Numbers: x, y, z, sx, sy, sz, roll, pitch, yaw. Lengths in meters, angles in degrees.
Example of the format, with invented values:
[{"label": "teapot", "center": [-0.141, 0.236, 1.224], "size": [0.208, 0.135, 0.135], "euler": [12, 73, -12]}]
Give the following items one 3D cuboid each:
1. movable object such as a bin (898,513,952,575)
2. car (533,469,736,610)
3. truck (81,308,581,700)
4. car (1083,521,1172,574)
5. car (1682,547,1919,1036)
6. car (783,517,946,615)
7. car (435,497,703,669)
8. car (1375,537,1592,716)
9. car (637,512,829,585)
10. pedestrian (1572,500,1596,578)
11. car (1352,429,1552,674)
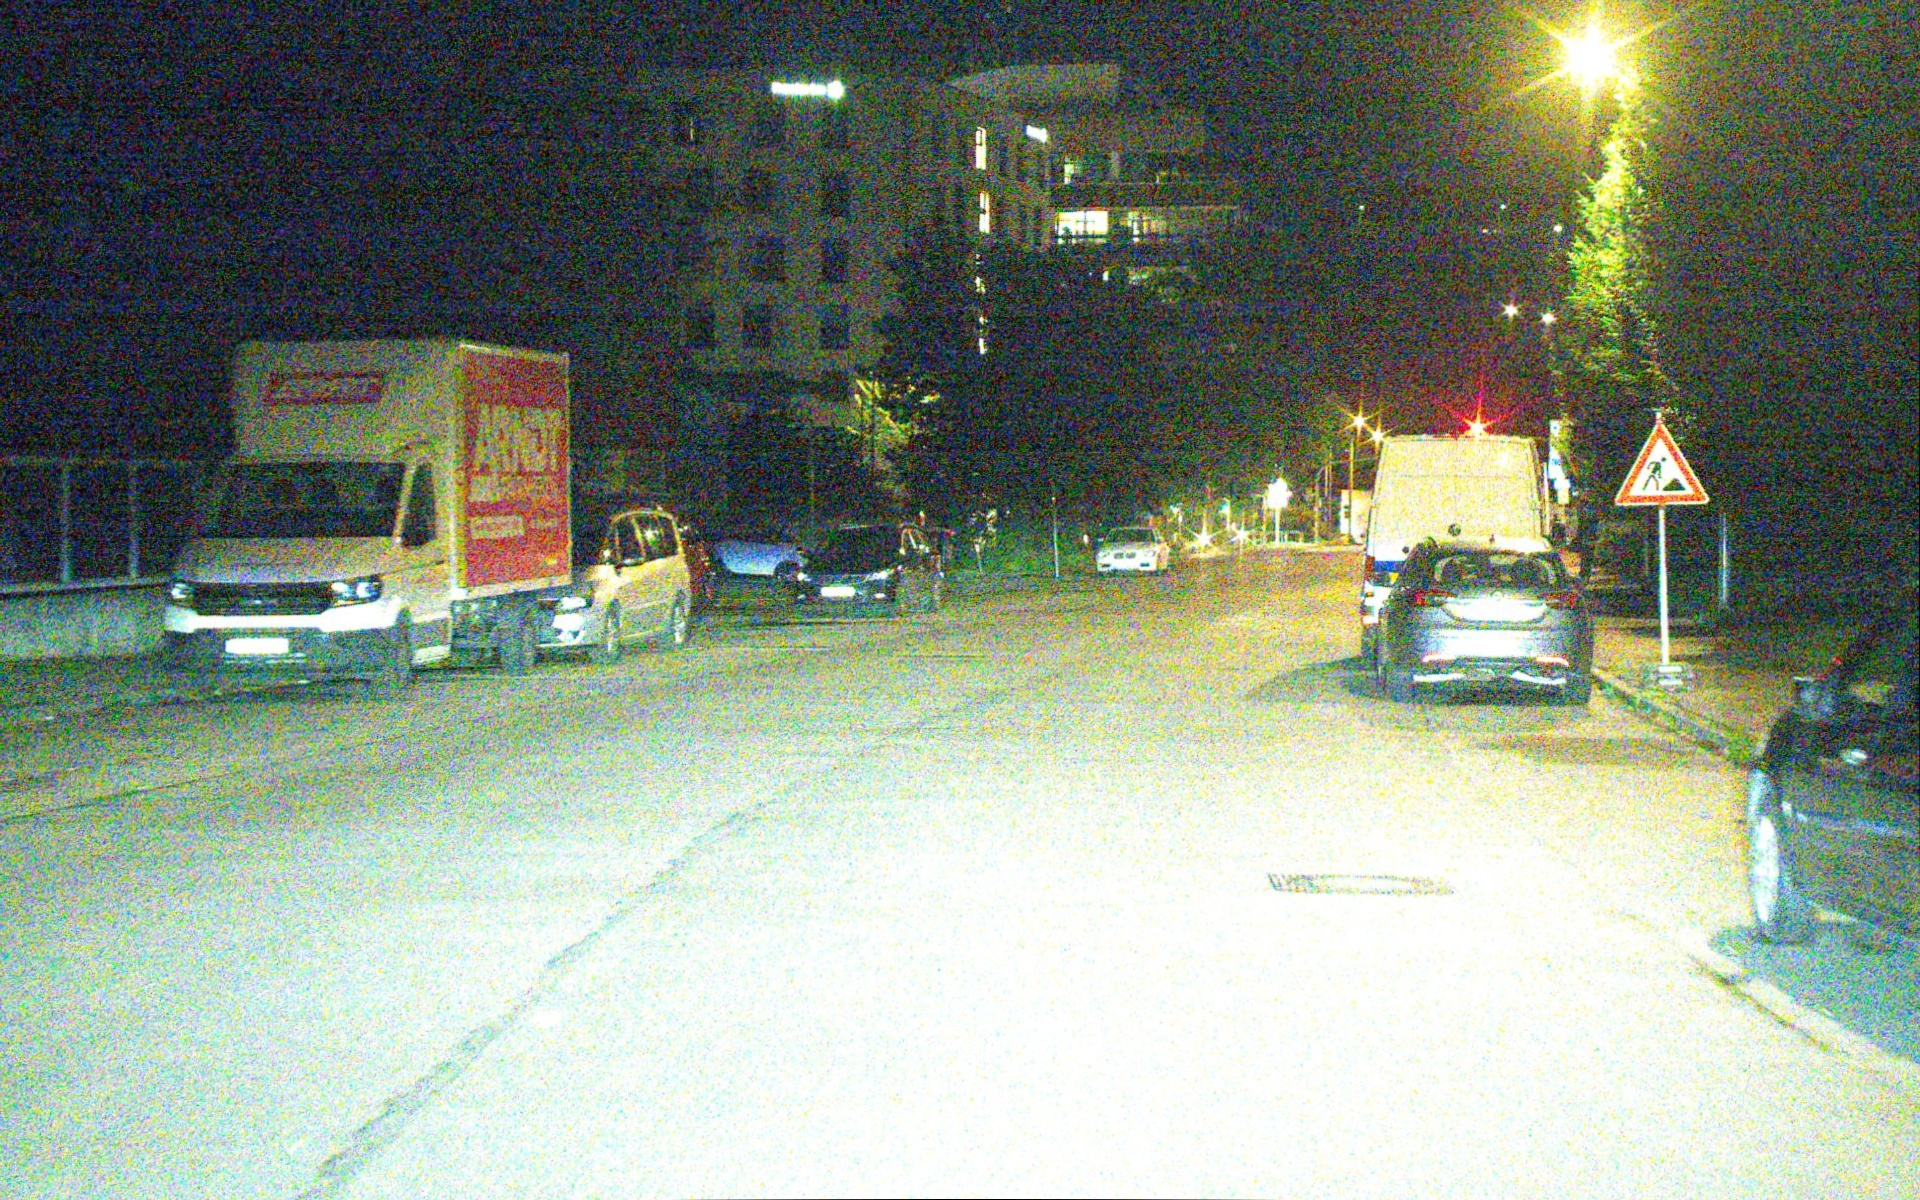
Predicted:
[{"label": "movable object such as a bin", "center": [-0.848, -1.380, 84.037], "size": [1.164, 1.490, 1.065], "euler": [0, 1, 7]}, {"label": "car", "center": [-5.678, -1.082, 60.593], "size": [1.995, 2.313, 4.964], "euler": [-2, 1, 13]}, {"label": "truck", "center": [-5.687, -0.890, 32.467], "size": [2.544, 3.269, 7.311], "euler": [0, 1, 7]}, {"label": "car", "center": [4.717, -1.486, 96.298], "size": [1.912, 1.399, 4.336], "euler": [0, 1, 10]}, {"label": "car", "center": [3.840, 0.596, 11.912], "size": [1.710, 1.503, 4.001], "euler": [1, 1, -2]}, {"label": "car", "center": [-1.530, -0.562, 56.965], "size": [1.756, 1.521, 4.320], "euler": [1, 1, 11]}, {"label": "car", "center": [-4.336, -0.240, 38.941], "size": [1.830, 1.810, 4.837], "euler": [-1, 1, 8]}, {"label": "car", "center": [4.764, 0.186, 31.779], "size": [1.711, 1.503, 4.640], "euler": [0, 1, 5]}, {"label": "car", "center": [-5.111, -1.165, 77.650], "size": [3.988, 1.565, 1.816], "euler": [-1, 1, 10]}, {"label": "pedestrian", "center": [14.803, -1.441, 81.528], "size": [0.570, 1.846, 0.820], "euler": [0, 1, 10]}, {"label": "car", "center": [5.591, -0.579, 38.824], "size": [2.021, 2.518, 6.049], "euler": [1, 2, 9]}]
